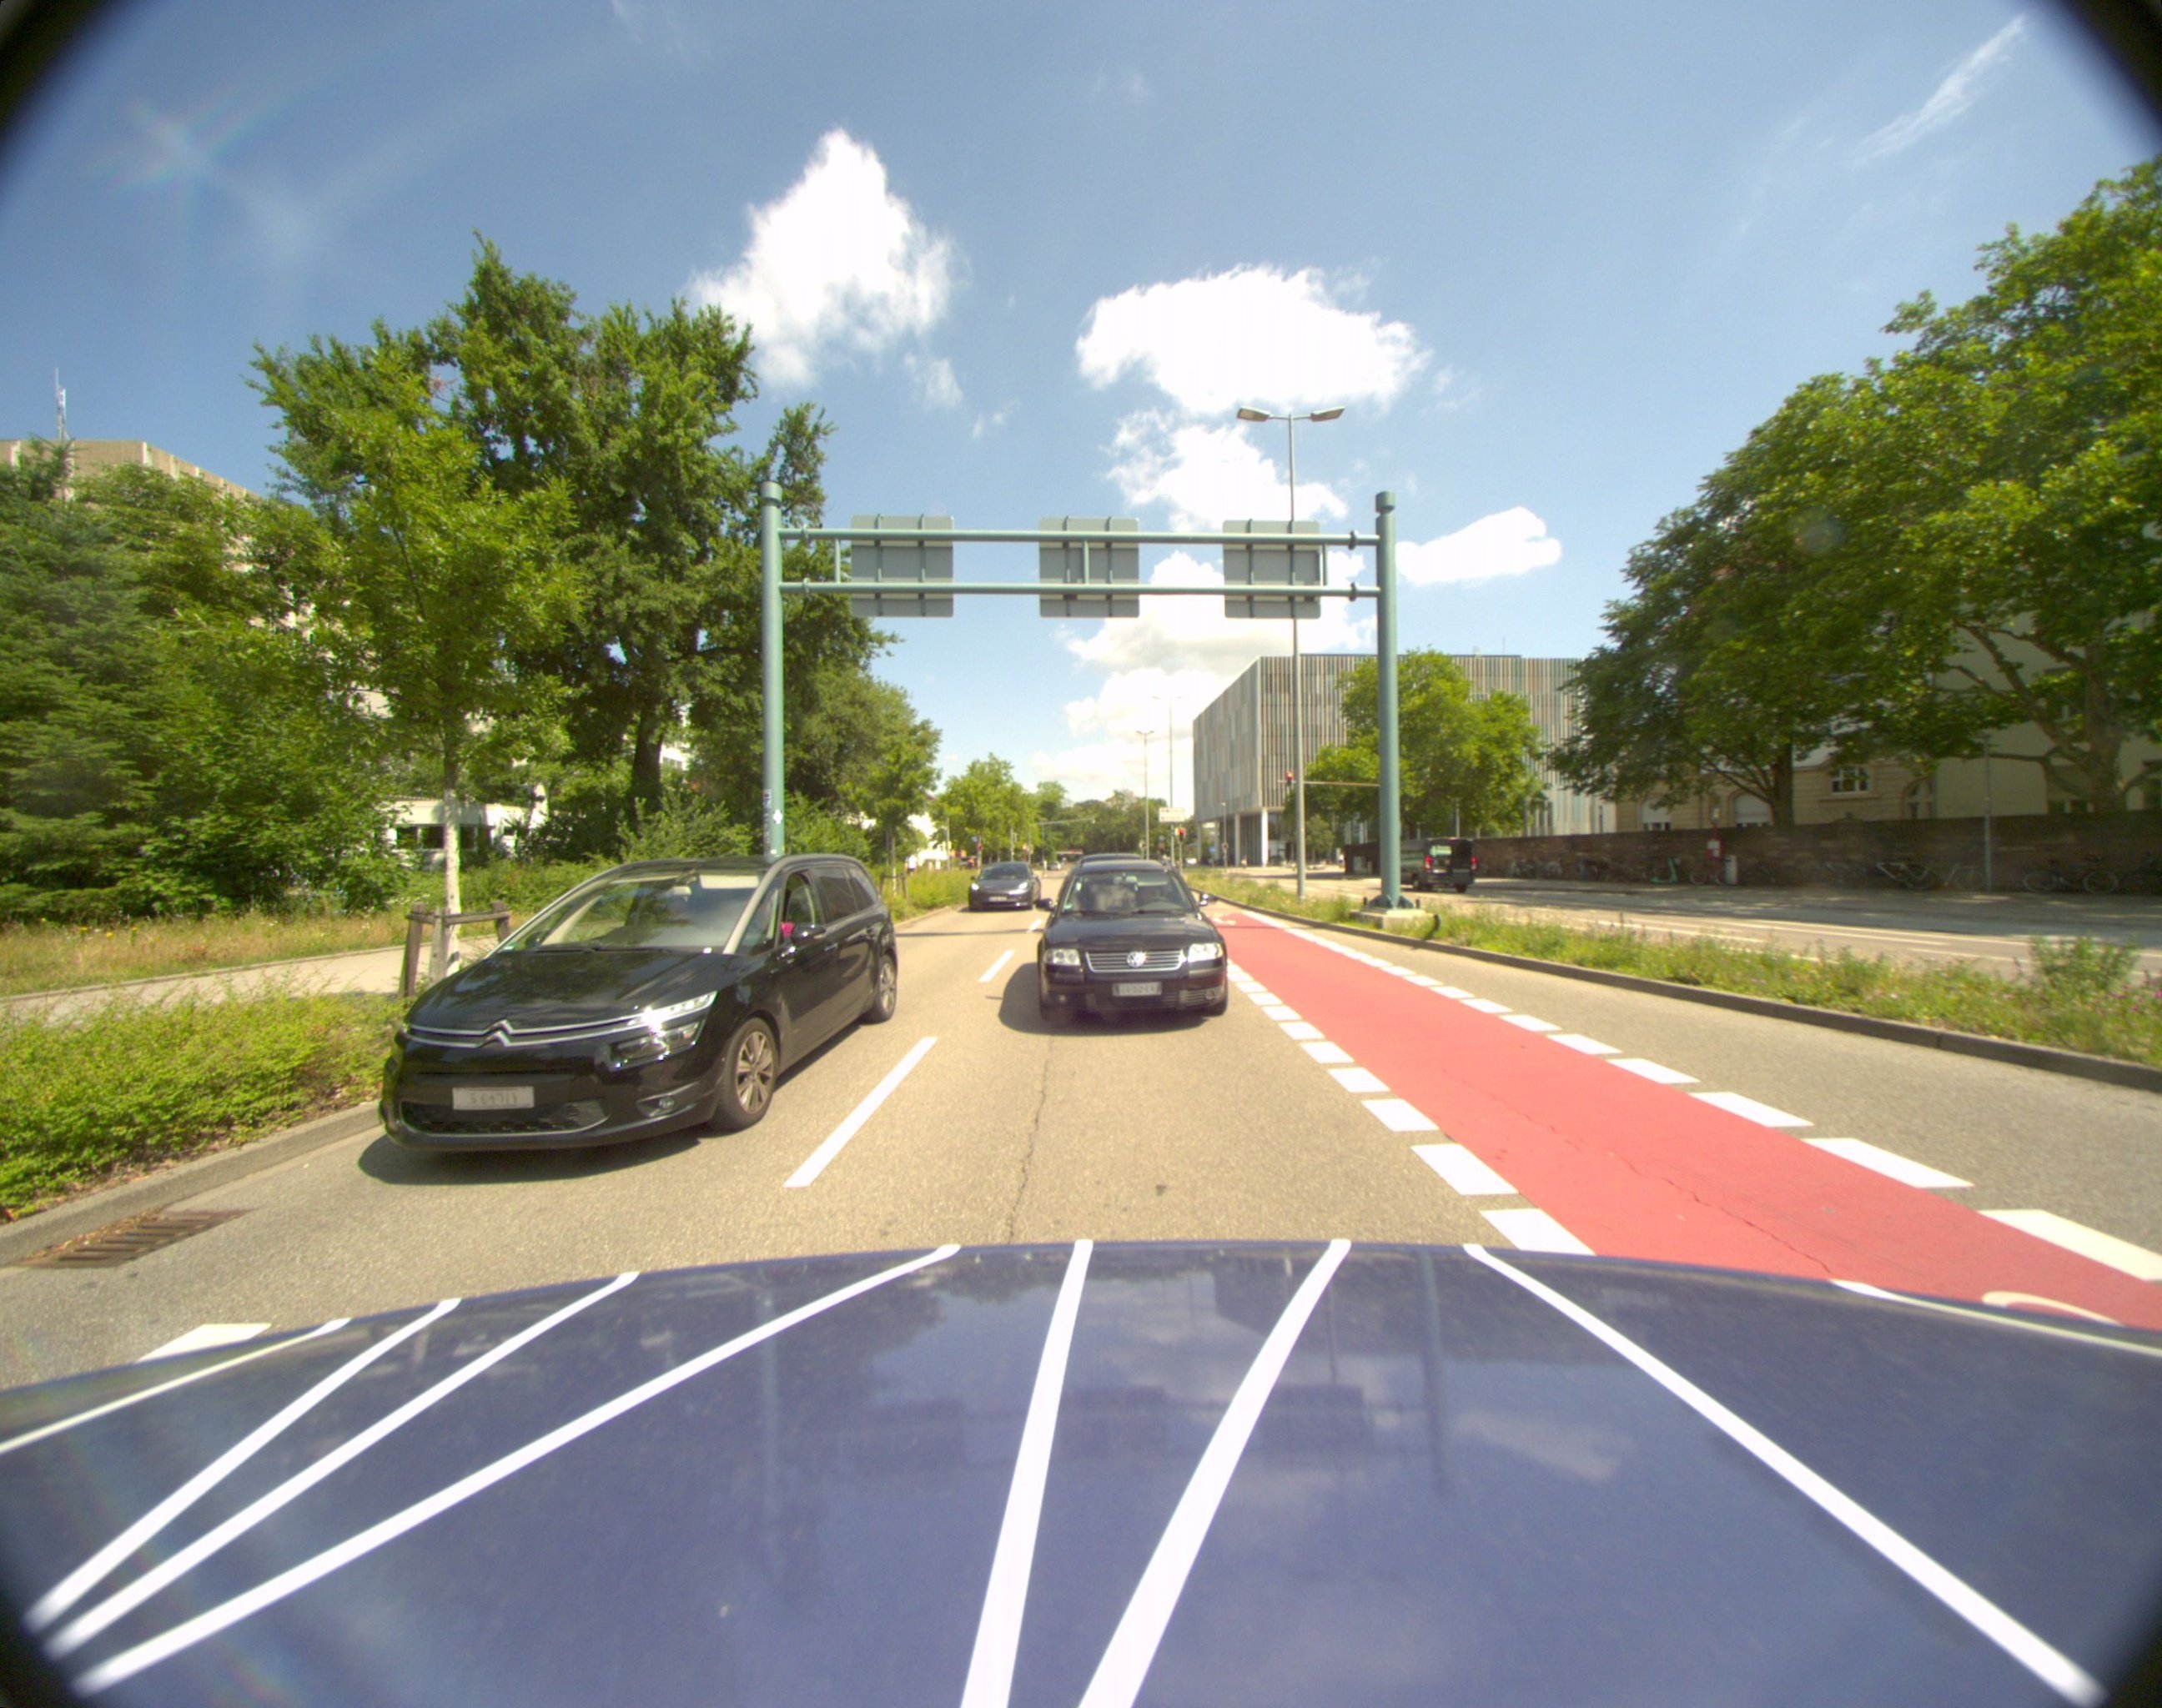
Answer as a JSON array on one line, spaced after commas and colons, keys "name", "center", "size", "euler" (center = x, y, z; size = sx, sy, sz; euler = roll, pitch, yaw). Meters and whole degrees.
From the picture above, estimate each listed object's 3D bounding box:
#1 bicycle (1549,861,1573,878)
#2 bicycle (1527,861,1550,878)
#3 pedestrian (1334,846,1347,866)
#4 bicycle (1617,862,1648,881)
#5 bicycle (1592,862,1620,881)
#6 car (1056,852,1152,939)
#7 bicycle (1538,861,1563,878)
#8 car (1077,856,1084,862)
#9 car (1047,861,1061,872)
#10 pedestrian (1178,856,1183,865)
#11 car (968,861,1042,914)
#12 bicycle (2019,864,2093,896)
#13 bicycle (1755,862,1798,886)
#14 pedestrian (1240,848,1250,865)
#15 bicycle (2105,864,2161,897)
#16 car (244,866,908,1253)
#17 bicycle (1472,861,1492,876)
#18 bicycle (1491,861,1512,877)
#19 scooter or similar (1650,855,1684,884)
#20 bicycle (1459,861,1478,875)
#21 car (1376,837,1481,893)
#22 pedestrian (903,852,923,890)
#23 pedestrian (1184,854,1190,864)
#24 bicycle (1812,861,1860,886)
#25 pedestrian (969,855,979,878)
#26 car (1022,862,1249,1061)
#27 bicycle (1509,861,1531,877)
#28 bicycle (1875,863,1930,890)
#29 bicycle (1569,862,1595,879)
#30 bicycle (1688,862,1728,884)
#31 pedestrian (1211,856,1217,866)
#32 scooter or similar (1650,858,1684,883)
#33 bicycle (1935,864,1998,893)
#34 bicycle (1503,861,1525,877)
[{"name": "bicycle", "center": [23.669, 0.752, 37.482], "size": [0.265, 0.826, 1.235], "euler": [-1, 0, -11]}, {"name": "bicycle", "center": [23.475, 0.791, 39.011], "size": [0.265, 0.826, 1.235], "euler": [-1, 0, -11]}, {"name": "pedestrian", "center": [26.456, 0.216, 77.388], "size": [0.994, 2.002, 0.864], "euler": [-1, 0, 1]}, {"name": "bicycle", "center": [24.184, 0.773, 33.344], "size": [0.265, 0.826, 1.235], "euler": [-1, 0, -11]}, {"name": "bicycle", "center": [24.082, 0.785, 34.859], "size": [0.265, 0.826, 1.235], "euler": [-1, 0, -11]}, {"name": "car", "center": [0.463, 0.782, 16.494], "size": [1.723, 1.545, 4.594], "euler": [-3, 0, 1]}, {"name": "bicycle", "center": [23.191, 0.753, 37.540], "size": [0.265, 0.826, 1.234], "euler": [-1, 0, -11]}, {"name": "car", "center": [-0.090, 1.577, 239.280], "size": [1.758, 1.581, 4.275], "euler": [-1, 0, -4]}, {"name": "car", "center": [-4.317, 1.954, 122.148], "size": [1.816, 1.598, 4.479], "euler": [-3, 0, 1]}, {"name": "pedestrian", "center": [16.022, 1.029, 122.178], "size": [0.696, 1.445, 0.689], "euler": [-1, 0, 5]}, {"name": "car", "center": [-2.233, 0.970, 23.373], "size": [1.806, 1.361, 4.157], "euler": [-1, 1, 1]}, {"name": "bicycle", "center": [26.645, 0.695, 20.787], "size": [0.265, 0.826, 1.234], "euler": [-1, 0, -13]}, {"name": "bicycle", "center": [25.194, 0.710, 27.534], "size": [0.265, 0.826, 1.235], "euler": [-1, 0, -11]}, {"name": "pedestrian", "center": [19.636, 0.274, 90.935], "size": [0.864, 2.002, 0.995], "euler": [-1, 0, -1]}, {"name": "bicycle", "center": [27.132, 0.676, 19.360], "size": [0.265, 0.826, 1.234], "euler": [-1, 0, -13]}, {"name": "car", "center": [-2.763, 0.956, 5.626], "size": [1.816, 1.598, 4.479], "euler": [-3, 0, 1]}, {"name": "bicycle", "center": [22.934, 0.809, 43.444], "size": [0.265, 0.826, 1.234], "euler": [-1, 0, -11]}, {"name": "bicycle", "center": [23.159, 0.821, 41.817], "size": [0.265, 0.826, 1.234], "euler": [-1, 0, -11]}, {"name": "scooter or similar", "center": [23.898, 0.625, 30.991], "size": [0.265, 1.182, 1.234], "euler": [-1, 0, -11]}, {"name": "bicycle", "center": [22.813, 0.824, 44.768], "size": [0.265, 0.826, 1.235], "euler": [-1, 0, -11]}, {"name": "car", "center": [14.740, 0.458, 32.583], "size": [2.153, 2.162, 5.018], "euler": [1, 0, 0]}, {"name": "pedestrian", "center": [-9.044, 0.910, 40.866], "size": [0.845, 2.026, 0.901], "euler": [-1, 0, -2]}, {"name": "pedestrian", "center": [16.914, 0.805, 121.538], "size": [0.793, 1.681, 0.706], "euler": [-1, 0, 1]}, {"name": "bicycle", "center": [25.689, 0.662, 25.865], "size": [0.265, 0.826, 1.235], "euler": [-1, 0, -11]}, {"name": "pedestrian", "center": [-8.149, 0.926, 57.799], "size": [0.640, 1.754, 0.885], "euler": [-1, 0, -16]}, {"name": "car", "center": [0.458, 0.872, 8.287], "size": [1.723, 1.472, 4.594], "euler": [-3, 0, 1]}, {"name": "bicycle", "center": [23.365, 0.793, 40.422], "size": [0.265, 0.826, 1.234], "euler": [-1, 0, -11]}, {"name": "bicycle", "center": [25.994, 0.703, 24.055], "size": [0.265, 0.826, 1.235], "euler": [-1, 0, -11]}, {"name": "bicycle", "center": [23.882, 0.782, 36.215], "size": [0.265, 0.826, 1.235], "euler": [-1, 0, -11]}, {"name": "bicycle", "center": [24.824, 0.743, 30.094], "size": [0.265, 0.826, 1.233], "euler": [-1, 0, -21]}, {"name": "pedestrian", "center": [19.774, 1.051, 112.930], "size": [0.696, 1.445, 0.689], "euler": [-1, 0, 7]}, {"name": "scooter or similar", "center": [24.580, 0.673, 31.864], "size": [0.266, 1.014, 1.140], "euler": [-1, 0, -22]}, {"name": "bicycle", "center": [26.247, 0.724, 22.542], "size": [0.265, 0.826, 1.235], "euler": [-1, 0, -11]}, {"name": "bicycle", "center": [22.866, 0.799, 40.099], "size": [0.265, 0.826, 1.234], "euler": [-1, 0, -11]}]
